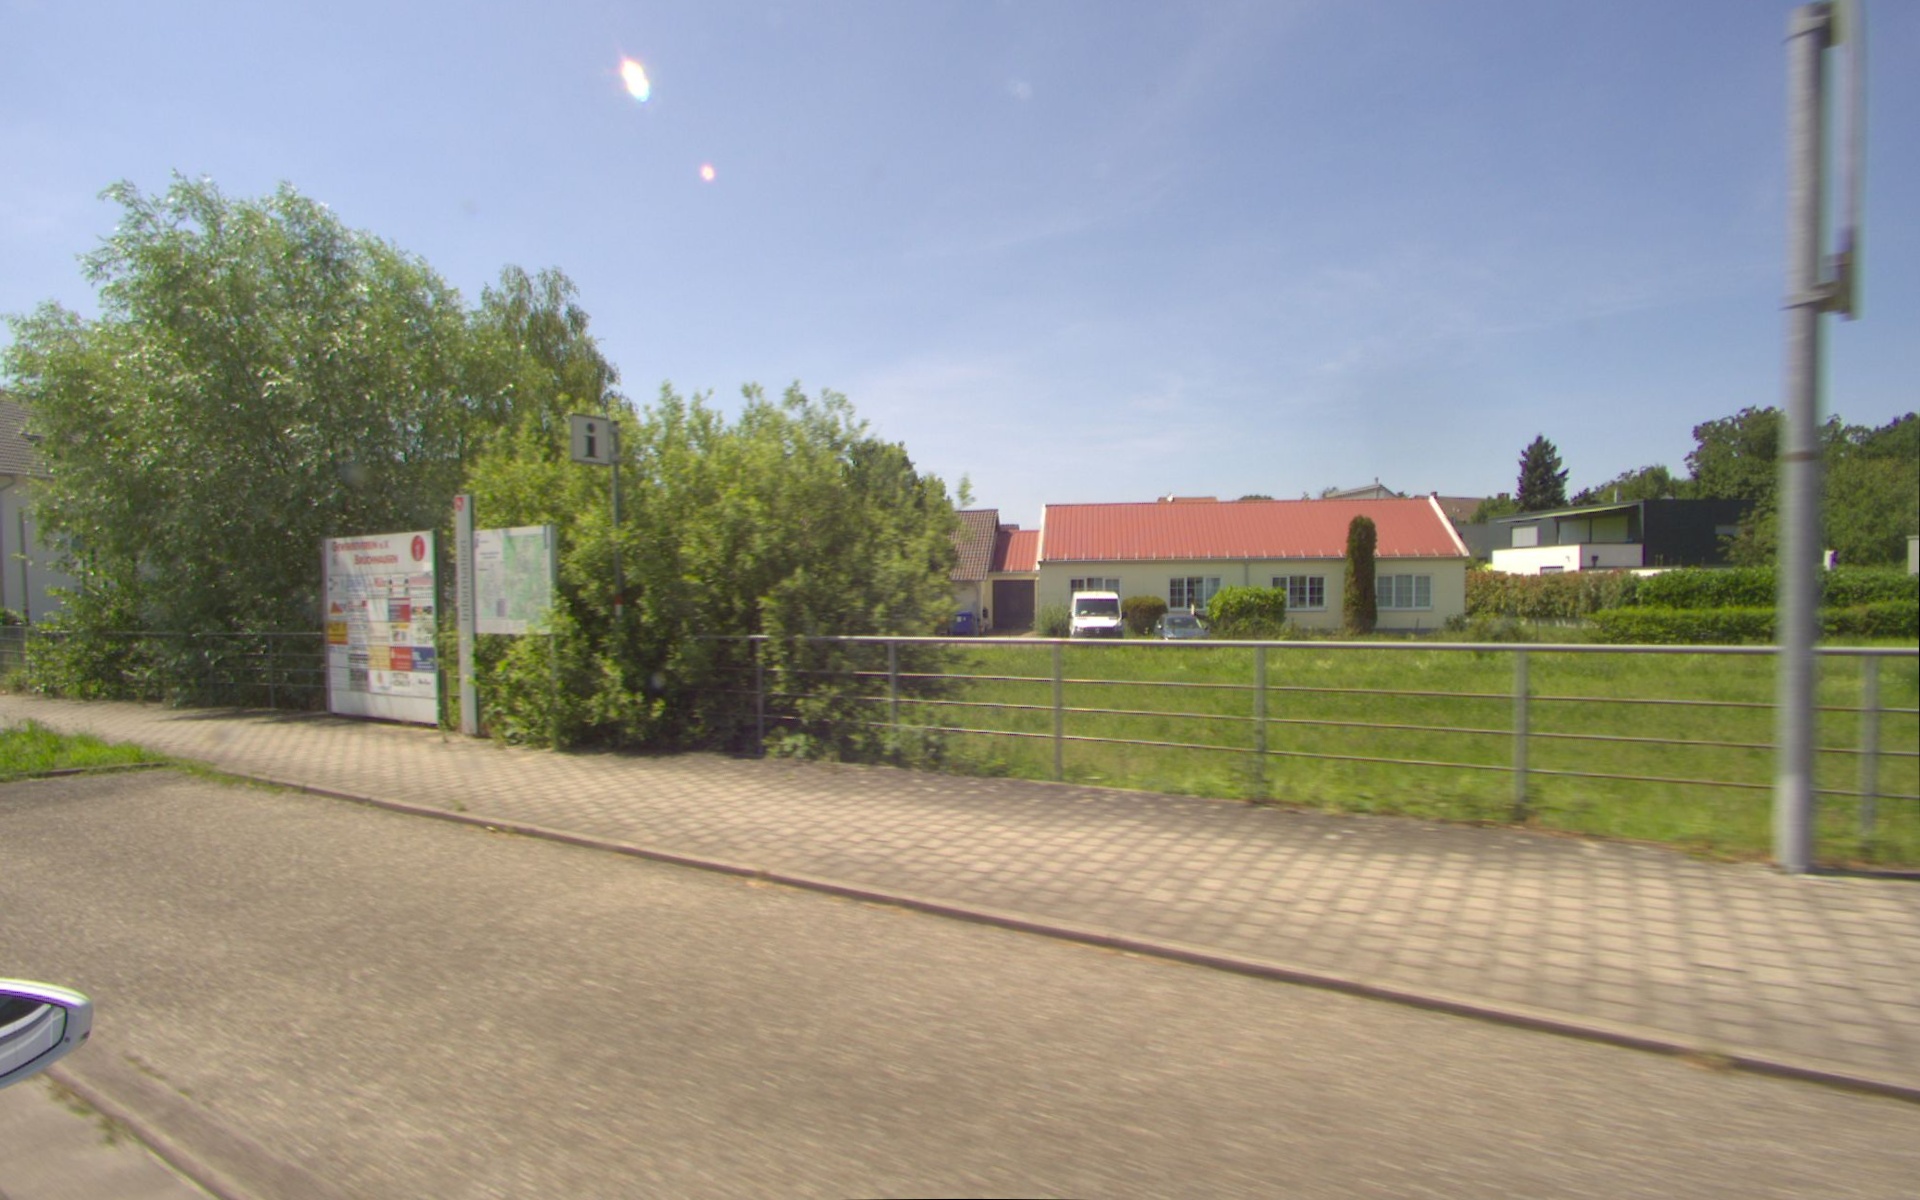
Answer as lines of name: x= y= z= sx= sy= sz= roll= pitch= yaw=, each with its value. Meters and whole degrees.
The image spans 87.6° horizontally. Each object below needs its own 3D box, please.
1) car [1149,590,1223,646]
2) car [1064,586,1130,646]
car: x=8.698 y=0.689 z=38.972 sx=2.029 sy=2.040 sz=4.933 roll=0 pitch=-1 yaw=4
car: x=5.286 y=0.634 z=39.310 sx=2.172 sy=2.230 sz=5.185 roll=0 pitch=-1 yaw=4
